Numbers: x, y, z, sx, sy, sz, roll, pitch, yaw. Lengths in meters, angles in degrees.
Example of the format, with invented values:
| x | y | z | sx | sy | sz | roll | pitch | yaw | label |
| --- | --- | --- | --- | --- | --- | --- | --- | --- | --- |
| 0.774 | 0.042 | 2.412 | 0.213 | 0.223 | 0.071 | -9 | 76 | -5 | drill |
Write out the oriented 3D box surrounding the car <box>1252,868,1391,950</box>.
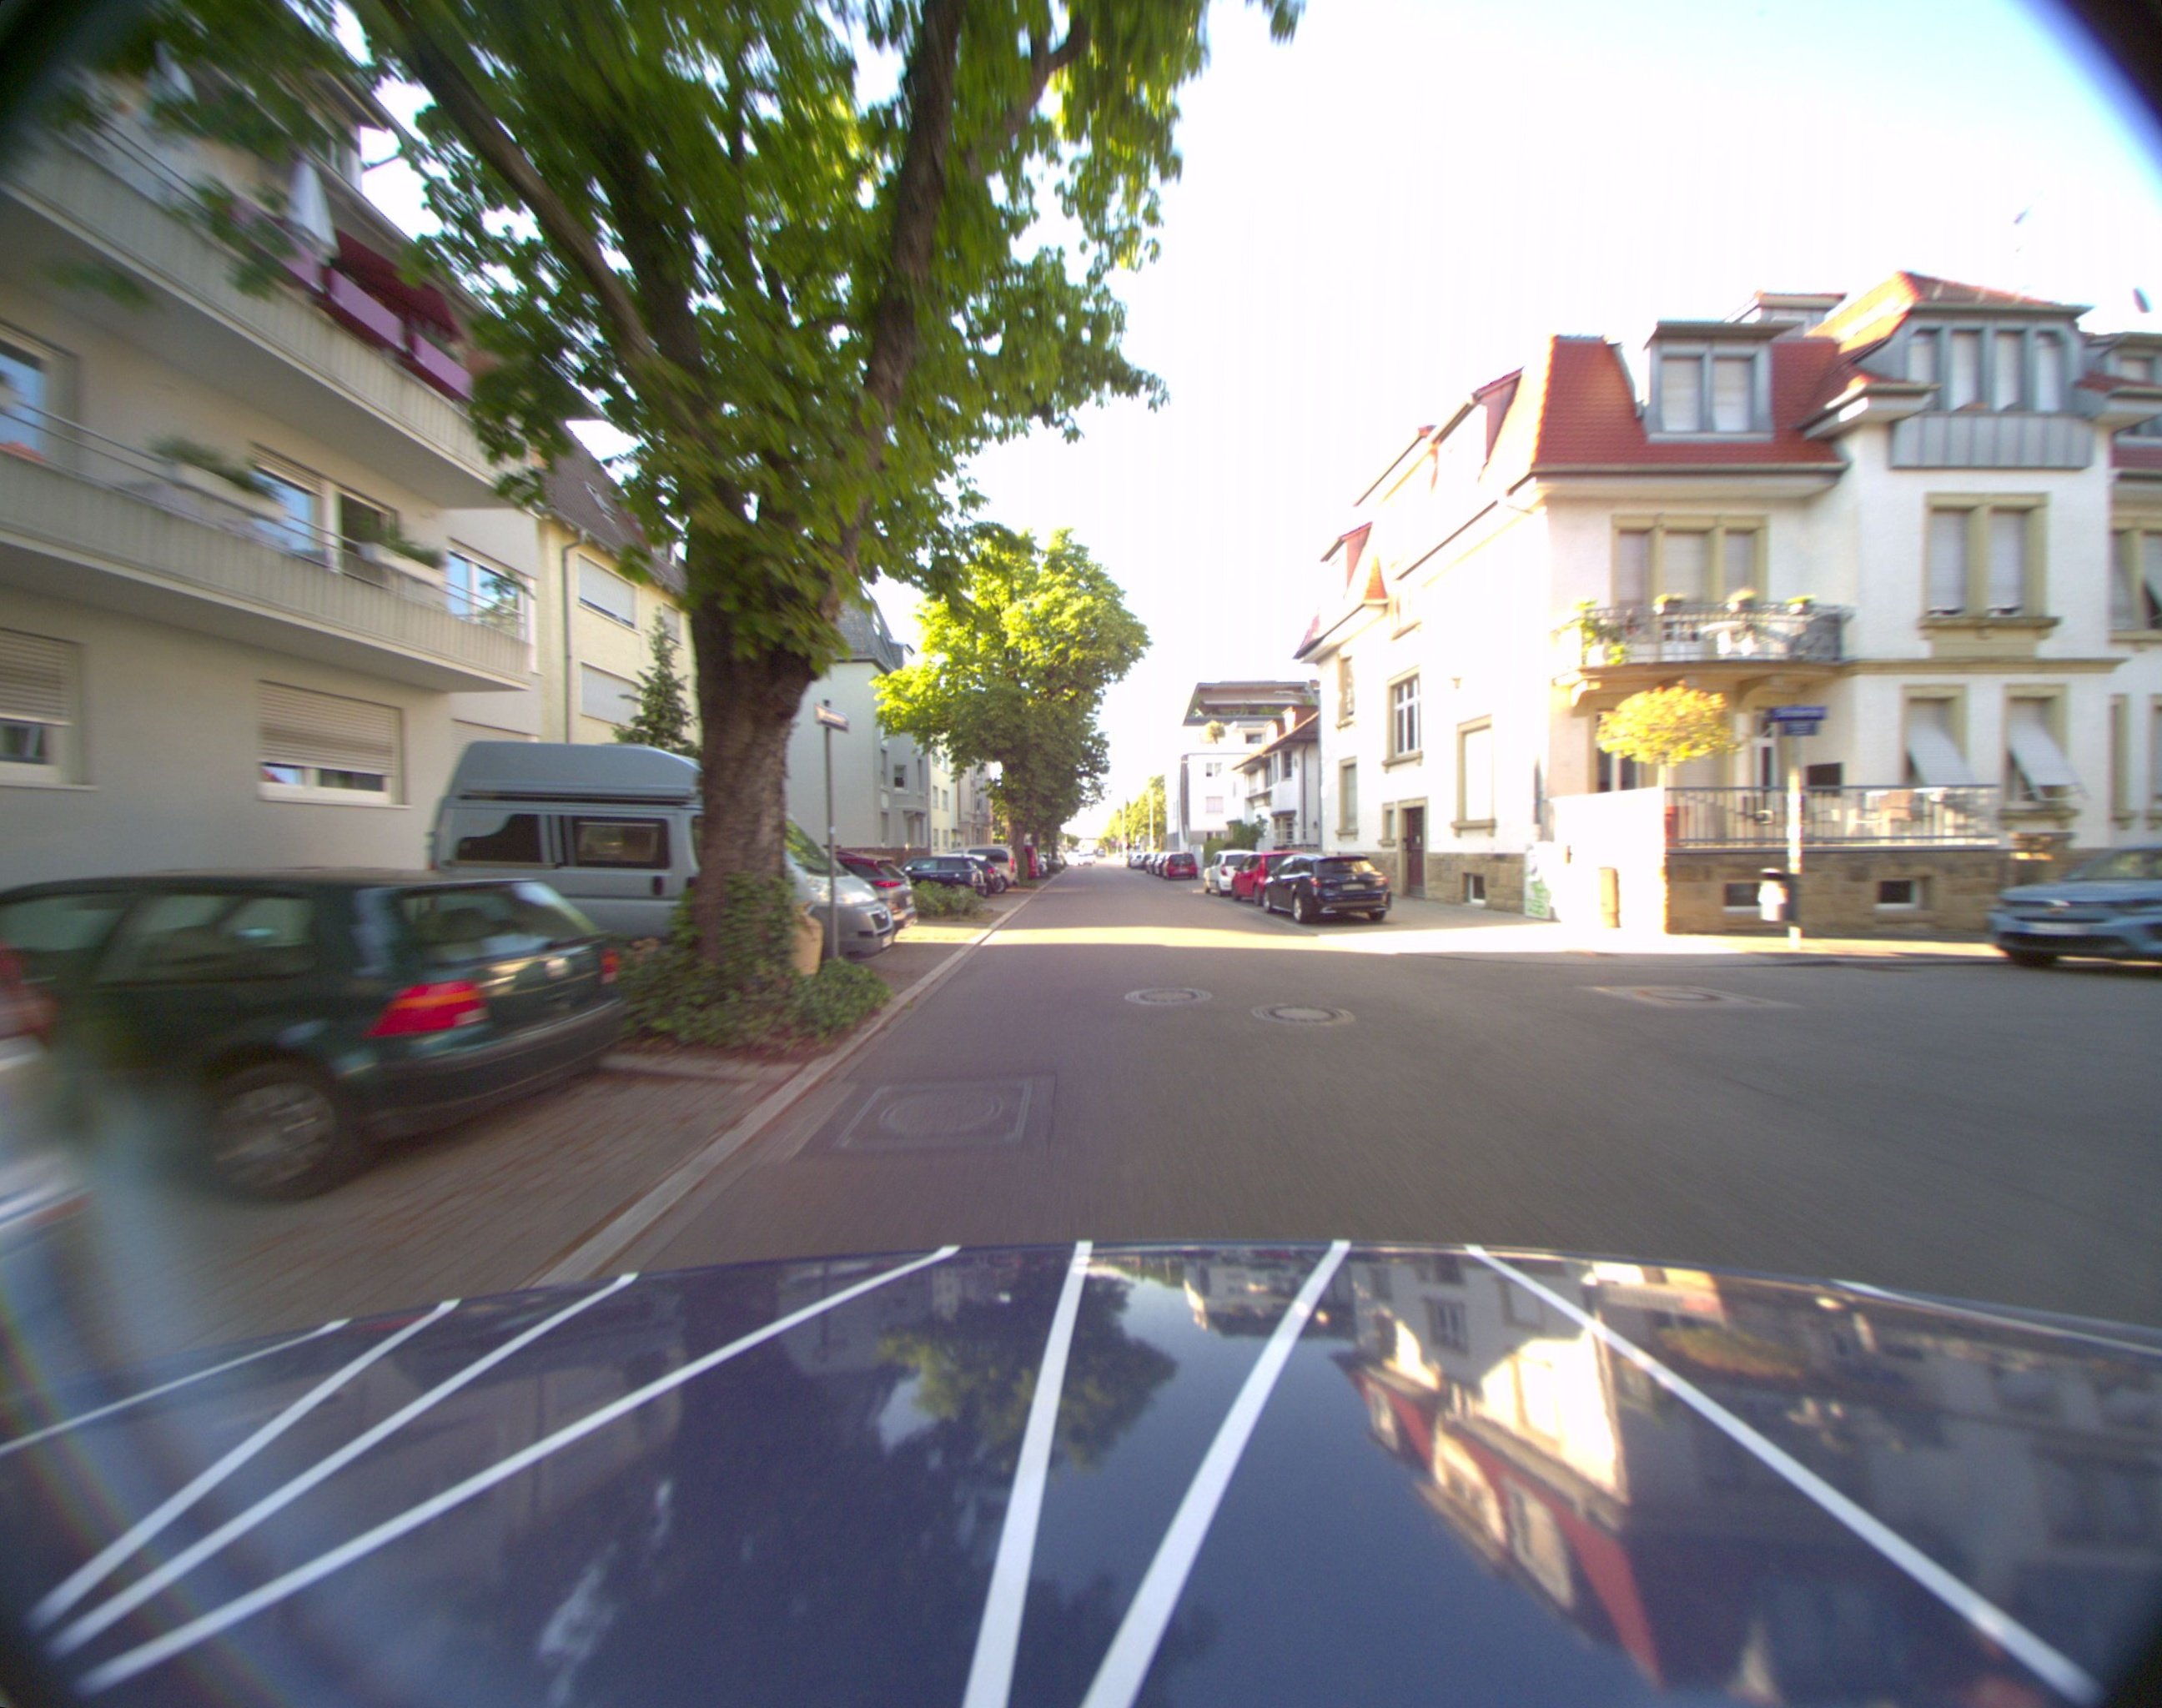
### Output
| x | y | z | sx | sy | sz | roll | pitch | yaw | label |
| --- | --- | --- | --- | --- | --- | --- | --- | --- | --- |
| 5.158 | 1.106 | 16.935 | 1.657 | 1.445 | 4.631 | -1 | 0 | 1 | car |

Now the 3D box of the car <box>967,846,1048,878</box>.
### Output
| x | y | z | sx | sy | sz | roll | pitch | yaw | label |
| --- | --- | --- | --- | --- | --- | --- | --- | --- | --- |
| -4.060 | 0.453 | 42.139 | 4.207 | 1.695 | 1.792 | 1 | 0 | 4 | car |

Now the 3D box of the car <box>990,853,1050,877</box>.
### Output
| x | y | z | sx | sy | sz | roll | pitch | yaw | label |
| --- | --- | --- | --- | --- | --- | --- | --- | --- | --- |
| -3.898 | 0.676 | 48.826 | 3.680 | 1.488 | 1.676 | 1 | 0 | 1 | car |

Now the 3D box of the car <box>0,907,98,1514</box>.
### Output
| x | y | z | sx | sy | sz | roll | pitch | yaw | label |
| --- | --- | --- | --- | --- | --- | --- | --- | --- | --- |
| -4.660 | 0.917 | 1.360 | 3.729 | 1.545 | 1.639 | 0 | 1 | 2 | car |

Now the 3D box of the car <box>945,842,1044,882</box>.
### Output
| x | y | z | sx | sy | sz | roll | pitch | yaw | label |
| --- | --- | --- | --- | --- | --- | --- | --- | --- | --- |
| -4.358 | 0.400 | 38.862 | 4.819 | 1.925 | 1.950 | 1 | 0 | 1 | car |

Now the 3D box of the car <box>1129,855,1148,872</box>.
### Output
| x | y | z | sx | sy | sz | roll | pitch | yaw | label |
| --- | --- | --- | --- | --- | --- | --- | --- | --- | --- |
| 5.589 | 0.911 | 74.233 | 1.723 | 1.489 | 3.908 | -1 | 0 | 2 | car |

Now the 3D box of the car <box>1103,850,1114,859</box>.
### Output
| x | y | z | sx | sy | sz | roll | pitch | yaw | label |
| --- | --- | --- | --- | --- | --- | --- | --- | --- | --- |
| 5.142 | 0.025 | 143.930 | 1.913 | 1.679 | 4.198 | -1 | 0 | 1 | car |

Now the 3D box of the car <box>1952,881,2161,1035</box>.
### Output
| x | y | z | sx | sy | sz | roll | pitch | yaw | label |
| --- | --- | --- | --- | --- | --- | --- | --- | --- | --- |
| 12.942 | 1.106 | 8.836 | 3.773 | 1.550 | 1.761 | 0 | -1 | -4 | car |

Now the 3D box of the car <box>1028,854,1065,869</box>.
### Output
| x | y | z | sx | sy | sz | roll | pitch | yaw | label |
| --- | --- | --- | --- | --- | --- | --- | --- | --- | --- |
| -3.601 | 0.811 | 79.509 | 3.825 | 1.477 | 1.601 | 1 | 0 | 1 | car |

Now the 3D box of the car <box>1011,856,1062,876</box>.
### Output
| x | y | z | sx | sy | sz | roll | pitch | yaw | label |
| --- | --- | --- | --- | --- | --- | --- | --- | --- | --- |
| -3.264 | 0.899 | 56.168 | 3.680 | 1.434 | 1.601 | 1 | 0 | 1 | car |

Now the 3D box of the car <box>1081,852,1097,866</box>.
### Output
| x | y | z | sx | sy | sz | roll | pitch | yaw | label |
| --- | --- | --- | --- | --- | --- | --- | --- | --- | --- |
| 1.052 | 0.652 | 100.760 | 1.999 | 1.690 | 4.424 | 0 | 0 | 0 | car |

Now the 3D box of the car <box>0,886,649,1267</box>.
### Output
| x | y | z | sx | sy | sz | roll | pitch | yaw | label |
| --- | --- | --- | --- | --- | --- | --- | --- | --- | --- |
| -4.626 | 0.947 | 3.943 | 3.730 | 1.422 | 1.758 | 0 | 2 | -1 | car |

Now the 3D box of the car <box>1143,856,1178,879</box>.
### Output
| x | y | z | sx | sy | sz | roll | pitch | yaw | label |
| --- | --- | --- | --- | --- | --- | --- | --- | --- | --- |
| 5.496 | 0.930 | 52.953 | 1.743 | 1.451 | 4.564 | -2 | 0 | -2 | car |

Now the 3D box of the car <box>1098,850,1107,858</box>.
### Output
| x | y | z | sx | sy | sz | roll | pitch | yaw | label |
| --- | --- | --- | --- | --- | --- | --- | --- | --- | --- |
| 4.878 | -0.027 | 175.227 | 1.913 | 1.679 | 4.198 | -1 | 0 | 1 | car |

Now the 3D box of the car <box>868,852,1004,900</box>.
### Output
| x | y | z | sx | sy | sz | roll | pitch | yaw | label |
| --- | --- | --- | --- | --- | --- | --- | --- | --- | --- |
| -4.862 | 0.721 | 25.895 | 4.313 | 1.532 | 1.758 | 1 | 0 | -3 | car |

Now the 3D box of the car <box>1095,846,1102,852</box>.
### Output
| x | y | z | sx | sy | sz | roll | pitch | yaw | label |
| --- | --- | --- | --- | --- | --- | --- | --- | --- | --- |
| 5.095 | -1.416 | 220.383 | 1.913 | 1.679 | 4.198 | -1 | 0 | 1 | car |

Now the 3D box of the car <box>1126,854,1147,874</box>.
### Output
| x | y | z | sx | sy | sz | roll | pitch | yaw | label |
| --- | --- | --- | --- | --- | --- | --- | --- | --- | --- |
| 5.738 | 1.024 | 79.251 | 1.913 | 1.937 | 4.198 | -1 | 0 | 1 | car |

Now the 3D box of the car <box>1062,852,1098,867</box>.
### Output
| x | y | z | sx | sy | sz | roll | pitch | yaw | label |
| --- | --- | --- | --- | --- | --- | --- | --- | --- | --- |
| -0.184 | 0.576 | 88.212 | 2.103 | 1.700 | 4.595 | 0 | 0 | -31 | car |

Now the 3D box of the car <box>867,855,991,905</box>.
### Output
| x | y | z | sx | sy | sz | roll | pitch | yaw | label |
| --- | --- | --- | --- | --- | --- | --- | --- | --- | --- |
| -4.624 | 0.766 | 23.442 | 3.411 | 1.419 | 1.759 | 1 | 0 | 0 | car |

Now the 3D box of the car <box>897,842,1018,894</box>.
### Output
| x | y | z | sx | sy | sz | roll | pitch | yaw | label |
| --- | --- | --- | --- | --- | --- | --- | --- | --- | --- |
| -4.578 | 0.504 | 28.726 | 4.313 | 1.874 | 1.758 | 1 | 1 | -3 | car |

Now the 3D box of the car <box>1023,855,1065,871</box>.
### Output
| x | y | z | sx | sy | sz | roll | pitch | yaw | label |
| --- | --- | --- | --- | --- | --- | --- | --- | --- | --- |
| -3.529 | 0.825 | 72.047 | 3.828 | 1.477 | 1.600 | 1 | 0 | -7 | car |

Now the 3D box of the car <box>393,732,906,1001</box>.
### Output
| x | y | z | sx | sy | sz | roll | pitch | yaw | label |
| --- | --- | --- | --- | --- | --- | --- | --- | --- | --- |
| -4.970 | 0.157 | 9.423 | 5.109 | 2.885 | 2.075 | 1 | 0 | -2 | car |

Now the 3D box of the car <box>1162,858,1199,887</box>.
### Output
| x | y | z | sx | sy | sz | roll | pitch | yaw | label |
| --- | --- | --- | --- | --- | --- | --- | --- | --- | --- |
| 5.357 | 0.973 | 41.398 | 1.654 | 1.474 | 3.429 | -1 | 0 | 2 | car |

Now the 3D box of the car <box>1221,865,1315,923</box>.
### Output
| x | y | z | sx | sy | sz | roll | pitch | yaw | label |
| --- | --- | --- | --- | --- | --- | --- | --- | --- | --- |
| 5.327 | 1.084 | 22.093 | 1.586 | 1.468 | 3.705 | -1 | 0 | -4 | car |

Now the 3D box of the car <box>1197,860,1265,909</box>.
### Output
| x | y | z | sx | sy | sz | roll | pitch | yaw | label |
| --- | --- | --- | --- | --- | --- | --- | --- | --- | --- |
| 5.198 | 1.009 | 26.683 | 1.585 | 1.511 | 3.706 | -1 | 0 | -1 | car |

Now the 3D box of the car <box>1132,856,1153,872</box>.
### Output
| x | y | z | sx | sy | sz | roll | pitch | yaw | label |
| --- | --- | --- | --- | --- | --- | --- | --- | --- | --- |
| 5.572 | 0.904 | 69.266 | 1.723 | 1.386 | 3.908 | -1 | 0 | 2 | car |

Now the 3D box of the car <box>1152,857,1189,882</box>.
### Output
| x | y | z | sx | sy | sz | roll | pitch | yaw | label |
| --- | --- | --- | --- | --- | --- | --- | --- | --- | --- |
| 5.499 | 0.923 | 47.018 | 1.742 | 1.451 | 4.378 | -1 | 0 | 0 | car |

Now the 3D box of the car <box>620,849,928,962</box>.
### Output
| x | y | z | sx | sy | sz | roll | pitch | yaw | label |
| --- | --- | --- | --- | --- | --- | --- | --- | --- | --- |
| -4.754 | 0.774 | 12.221 | 4.200 | 1.559 | 1.758 | 2 | 0 | -1 | car |

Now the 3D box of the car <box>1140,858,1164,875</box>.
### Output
| x | y | z | sx | sy | sz | roll | pitch | yaw | label |
| --- | --- | --- | --- | --- | --- | --- | --- | --- | --- |
| 5.979 | 1.023 | 64.439 | 1.723 | 1.386 | 3.908 | -1 | 0 | 2 | car |
